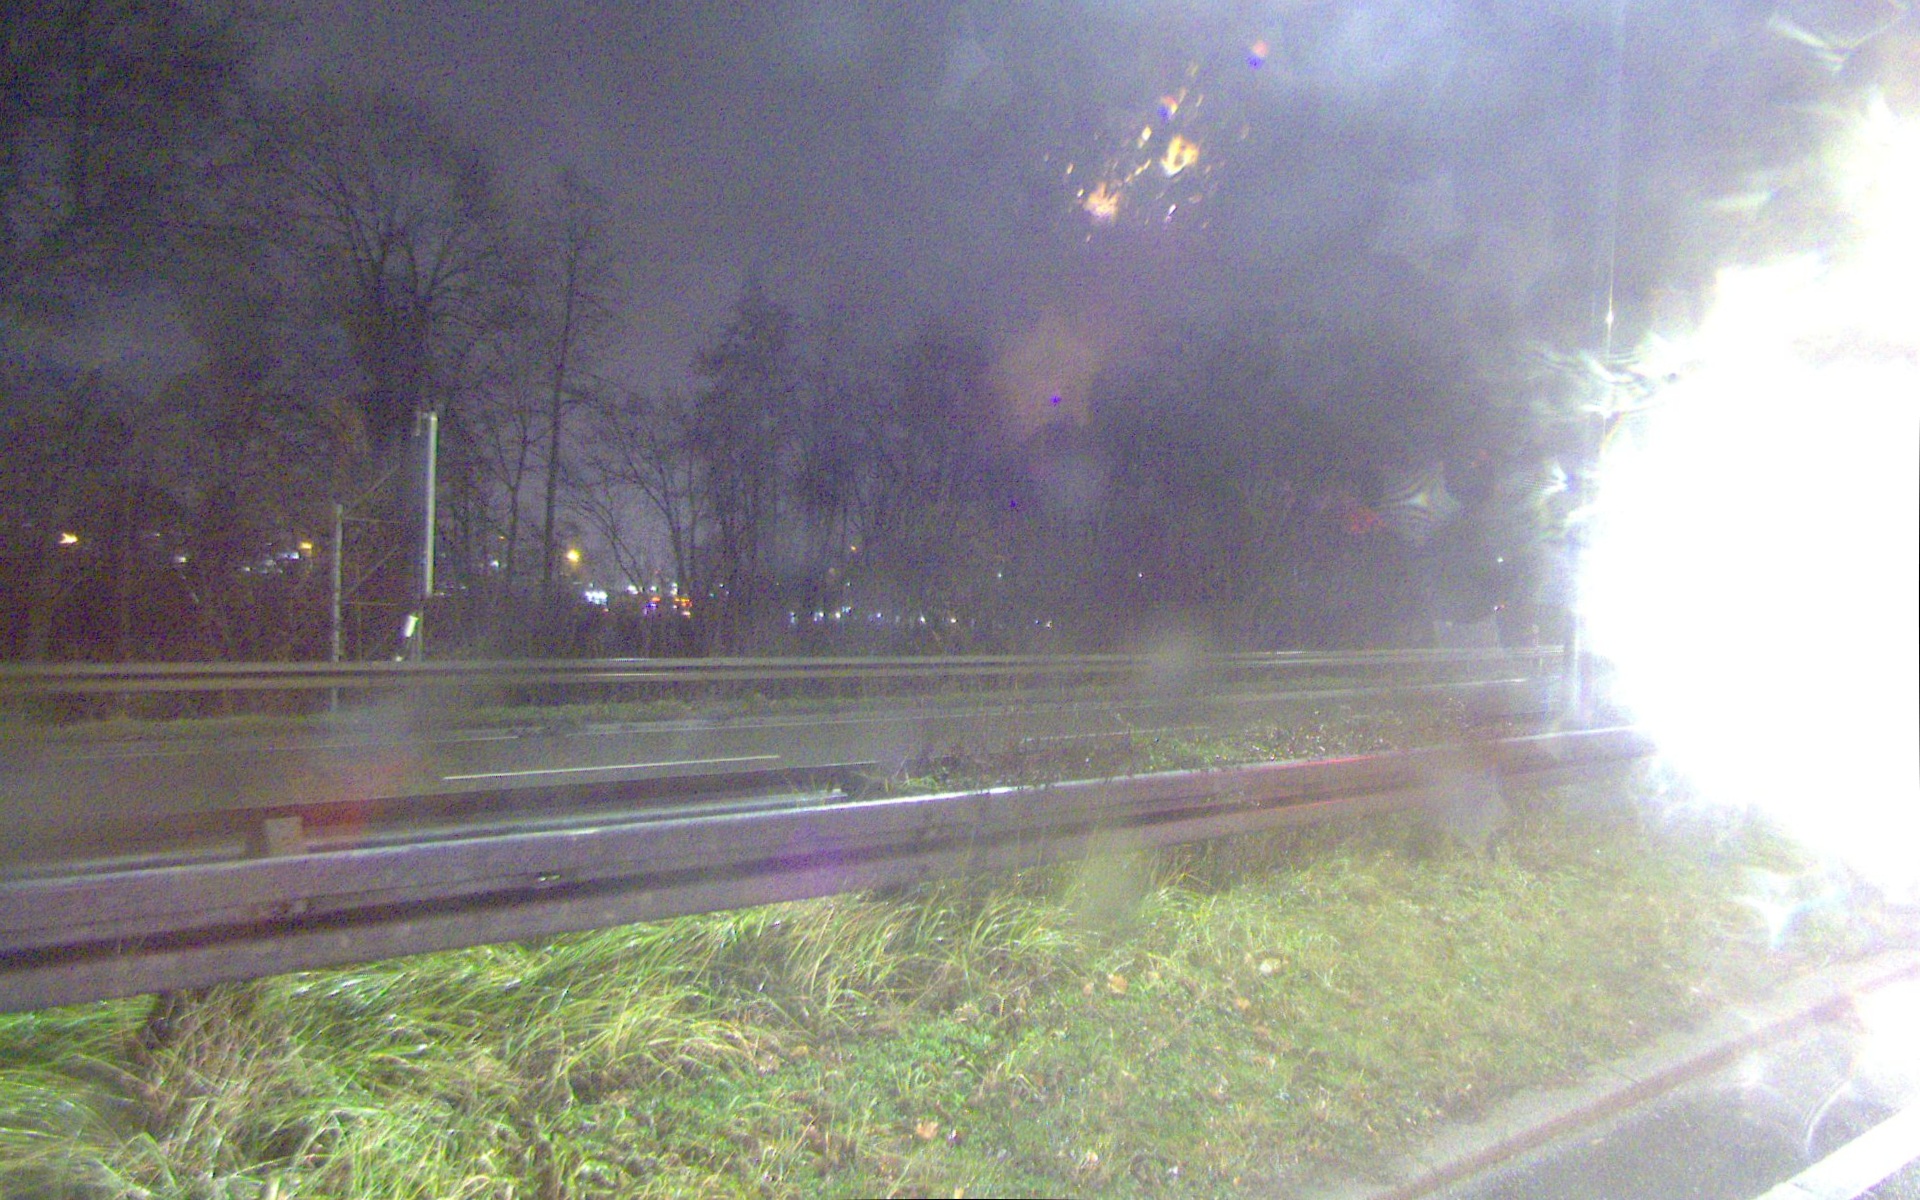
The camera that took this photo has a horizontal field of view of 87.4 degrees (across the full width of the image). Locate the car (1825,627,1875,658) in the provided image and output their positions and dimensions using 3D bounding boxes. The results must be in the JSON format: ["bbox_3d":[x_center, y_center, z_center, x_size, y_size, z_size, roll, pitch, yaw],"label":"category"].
[{"bbox_3d":[42.736,2.031,48.214,1.693,1.442,4.641,-1,-2,43],"label":"car"}]

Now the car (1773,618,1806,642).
[{"bbox_3d":[61.272,2.197,74.266,1.744,1.653,4.232,1,0,38],"label":"car"}]

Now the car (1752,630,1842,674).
[{"bbox_3d":[31.215,1.910,37.421,4.805,1.528,1.975,2,-2,-43],"label":"car"}]
